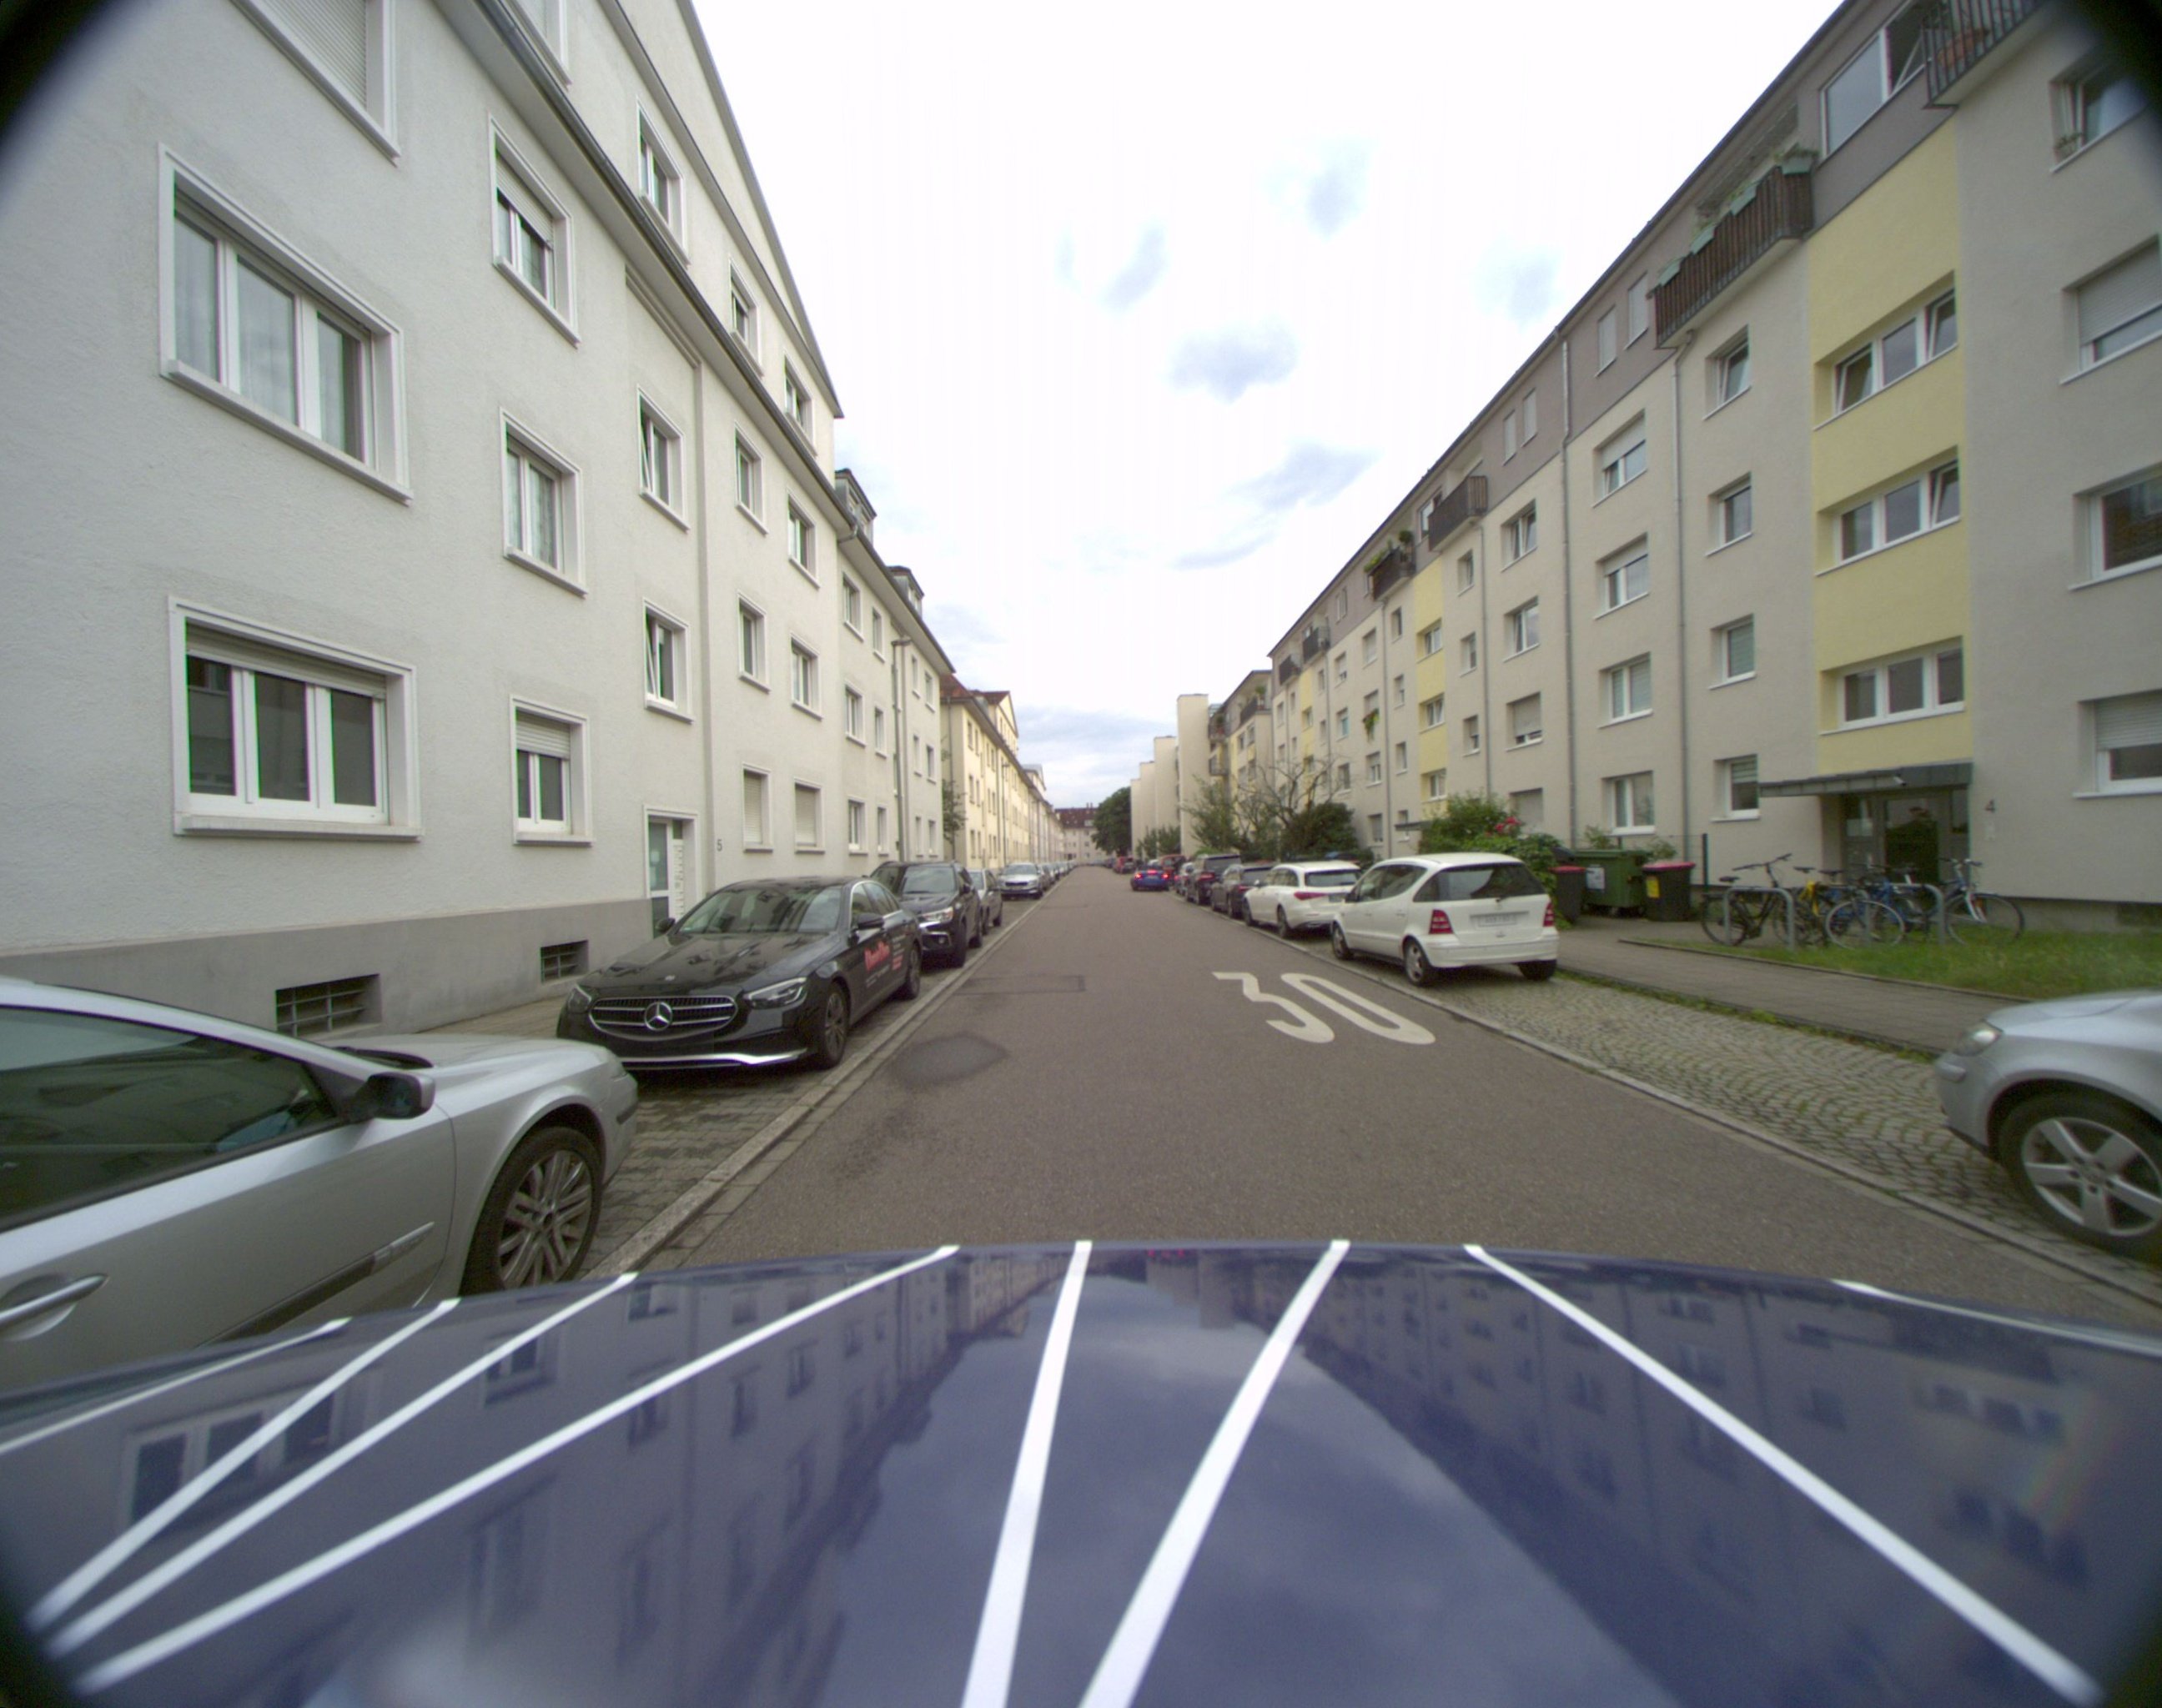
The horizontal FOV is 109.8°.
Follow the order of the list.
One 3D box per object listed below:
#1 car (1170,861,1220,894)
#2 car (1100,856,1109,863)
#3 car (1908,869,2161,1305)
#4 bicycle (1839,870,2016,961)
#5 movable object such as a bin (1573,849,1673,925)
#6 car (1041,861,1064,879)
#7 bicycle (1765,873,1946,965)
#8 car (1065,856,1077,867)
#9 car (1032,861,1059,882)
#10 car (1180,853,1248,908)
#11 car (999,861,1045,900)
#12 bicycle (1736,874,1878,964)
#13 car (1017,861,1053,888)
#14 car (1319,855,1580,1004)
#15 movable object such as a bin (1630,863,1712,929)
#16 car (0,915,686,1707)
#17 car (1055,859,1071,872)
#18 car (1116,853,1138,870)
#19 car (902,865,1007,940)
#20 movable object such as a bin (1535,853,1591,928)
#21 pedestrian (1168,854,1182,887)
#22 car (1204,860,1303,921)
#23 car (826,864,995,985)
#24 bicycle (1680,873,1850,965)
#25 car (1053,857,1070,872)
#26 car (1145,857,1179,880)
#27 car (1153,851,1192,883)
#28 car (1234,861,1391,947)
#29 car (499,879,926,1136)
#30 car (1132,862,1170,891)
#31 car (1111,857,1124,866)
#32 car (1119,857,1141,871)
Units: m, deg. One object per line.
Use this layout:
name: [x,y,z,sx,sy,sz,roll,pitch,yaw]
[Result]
car: [5.064,1.021,34.165,1.575,1.388,3.542,-2,-1,-2]
car: [5.525,1.352,179.294,1.745,1.534,3.637,-2,0,-6]
car: [4.739,0.840,1.631,1.658,1.541,3.916,-2,0,1]
bicycle: [10.589,0.729,9.586,0.421,1.018,1.559,-2,0,-3]
movable object such as a bin: [10.553,0.610,14.852,1.059,1.366,1.189,-2,1,-4]
car: [-2.263,1.251,61.144,1.737,1.363,4.217,-1,0,-1]
bicycle: [9.702,0.765,9.617,0.479,1.018,1.755,-2,0,0]
car: [-1.548,1.199,119.145,1.737,1.670,3.592,-1,0,-1]
car: [-2.470,1.204,53.434,1.737,1.402,4.217,-1,0,-1]
car: [4.685,0.909,27.356,1.575,1.769,4.452,-2,-1,0]
car: [-2.537,1.118,33.276,1.737,1.538,3.677,-1,0,-1]
bicycle: [9.206,0.785,9.704,0.357,1.018,1.497,-2,0,0]
car: [-2.489,1.092,42.191,1.737,1.418,4.218,-1,0,0]
car: [4.726,0.864,10.405,1.689,1.629,3.727,-2,0,-1]
movable object such as a bin: [10.686,0.751,13.785,0.871,1.103,0.787,-2,1,-4]
car: [-2.708,1.011,1.348,1.737,1.454,4.430,-1,0,-1]
car: [-2.125,1.325,90.112,1.737,1.443,4.217,-1,0,-1]
car: [5.484,0.921,91.115,2.188,2.019,4.422,-2,-1,-2]
car: [-2.779,1.031,17.496,1.737,1.478,3.757,-1,0,0]
movable object such as a bin: [9.095,0.676,14.349,0.659,1.360,0.587,-2,2,-4]
pedestrian: [4.906,0.860,39.827,0.603,1.657,0.622,-2,0,-2]
car: [4.701,0.943,21.326,1.729,1.445,4.483,-2,0,0]
car: [-2.563,0.990,12.452,1.853,1.589,4.160,-1,0,-1]
bicycle: [8.727,0.782,9.811,0.489,1.018,1.878,-2,0,1]
car: [-2.055,1.098,80.323,1.737,1.443,4.217,-1,0,-1]
car: [5.384,0.946,50.907,1.707,1.435,3.542,-2,-1,-2]
car: [5.366,0.759,44.719,1.707,1.795,3.542,-2,-1,-2]
car: [4.678,0.938,16.143,1.723,1.500,4.687,-2,-1,-2]
car: [-2.722,1.020,6.873,1.786,1.454,4.322,-1,0,-1]
car: [3.570,1.143,39.387,1.679,1.307,3.908,-2,1,1]
car: [6.260,1.253,129.834,1.745,1.534,3.637,-2,0,-6]
car: [5.494,1.125,84.878,2.013,1.435,4.197,-2,-1,-2]
